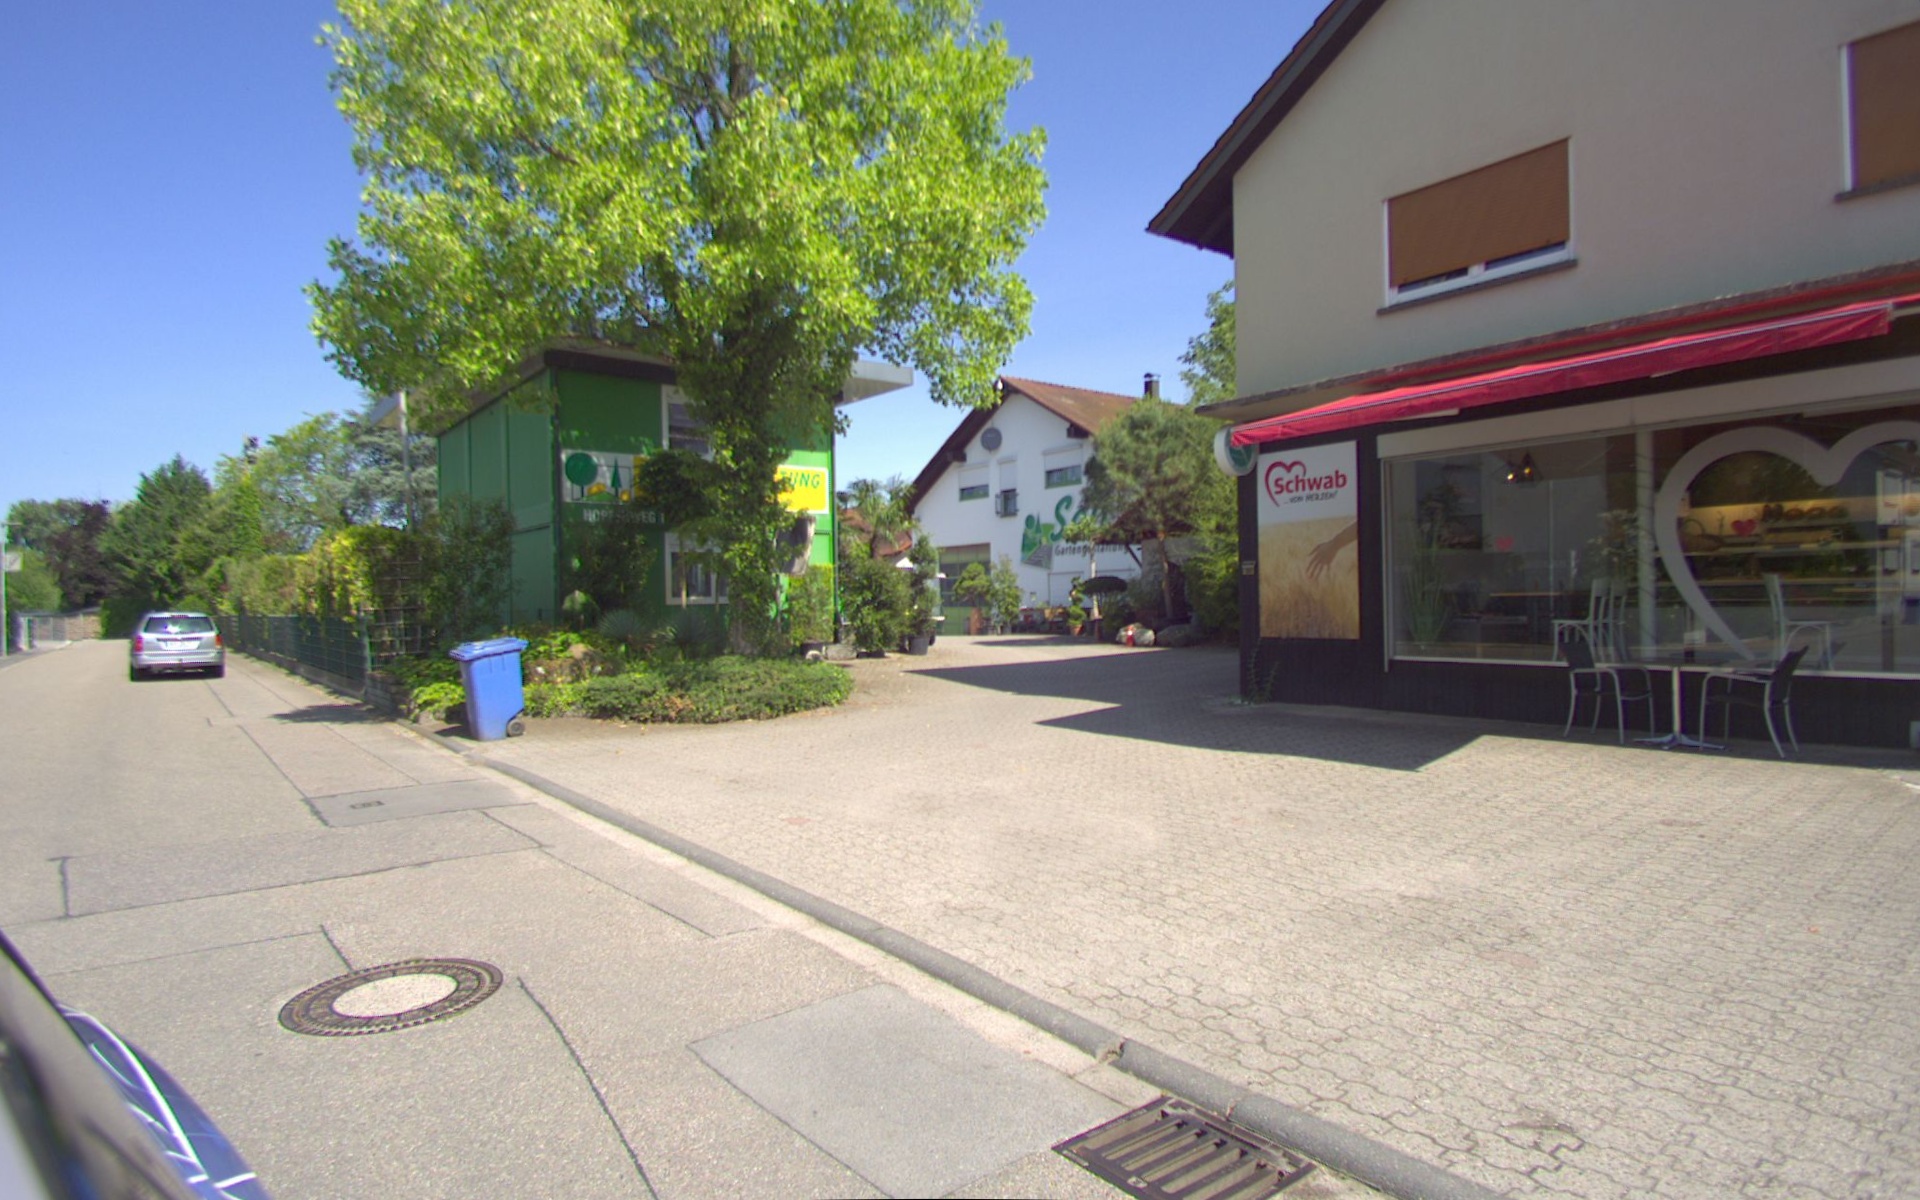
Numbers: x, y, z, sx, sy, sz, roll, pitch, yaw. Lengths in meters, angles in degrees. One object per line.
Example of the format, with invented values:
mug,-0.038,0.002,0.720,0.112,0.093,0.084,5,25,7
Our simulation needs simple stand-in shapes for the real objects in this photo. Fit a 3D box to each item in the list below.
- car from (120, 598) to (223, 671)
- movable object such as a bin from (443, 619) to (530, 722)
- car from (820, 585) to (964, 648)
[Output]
car,-18.386,0.766,23.578,1.730,1.498,4.383,-2,0,-39
movable object such as a bin,-5.283,0.768,11.286,0.721,1.062,0.613,-3,1,-39
car,-1.870,0.380,26.773,1.833,1.458,4.008,-3,2,-39
